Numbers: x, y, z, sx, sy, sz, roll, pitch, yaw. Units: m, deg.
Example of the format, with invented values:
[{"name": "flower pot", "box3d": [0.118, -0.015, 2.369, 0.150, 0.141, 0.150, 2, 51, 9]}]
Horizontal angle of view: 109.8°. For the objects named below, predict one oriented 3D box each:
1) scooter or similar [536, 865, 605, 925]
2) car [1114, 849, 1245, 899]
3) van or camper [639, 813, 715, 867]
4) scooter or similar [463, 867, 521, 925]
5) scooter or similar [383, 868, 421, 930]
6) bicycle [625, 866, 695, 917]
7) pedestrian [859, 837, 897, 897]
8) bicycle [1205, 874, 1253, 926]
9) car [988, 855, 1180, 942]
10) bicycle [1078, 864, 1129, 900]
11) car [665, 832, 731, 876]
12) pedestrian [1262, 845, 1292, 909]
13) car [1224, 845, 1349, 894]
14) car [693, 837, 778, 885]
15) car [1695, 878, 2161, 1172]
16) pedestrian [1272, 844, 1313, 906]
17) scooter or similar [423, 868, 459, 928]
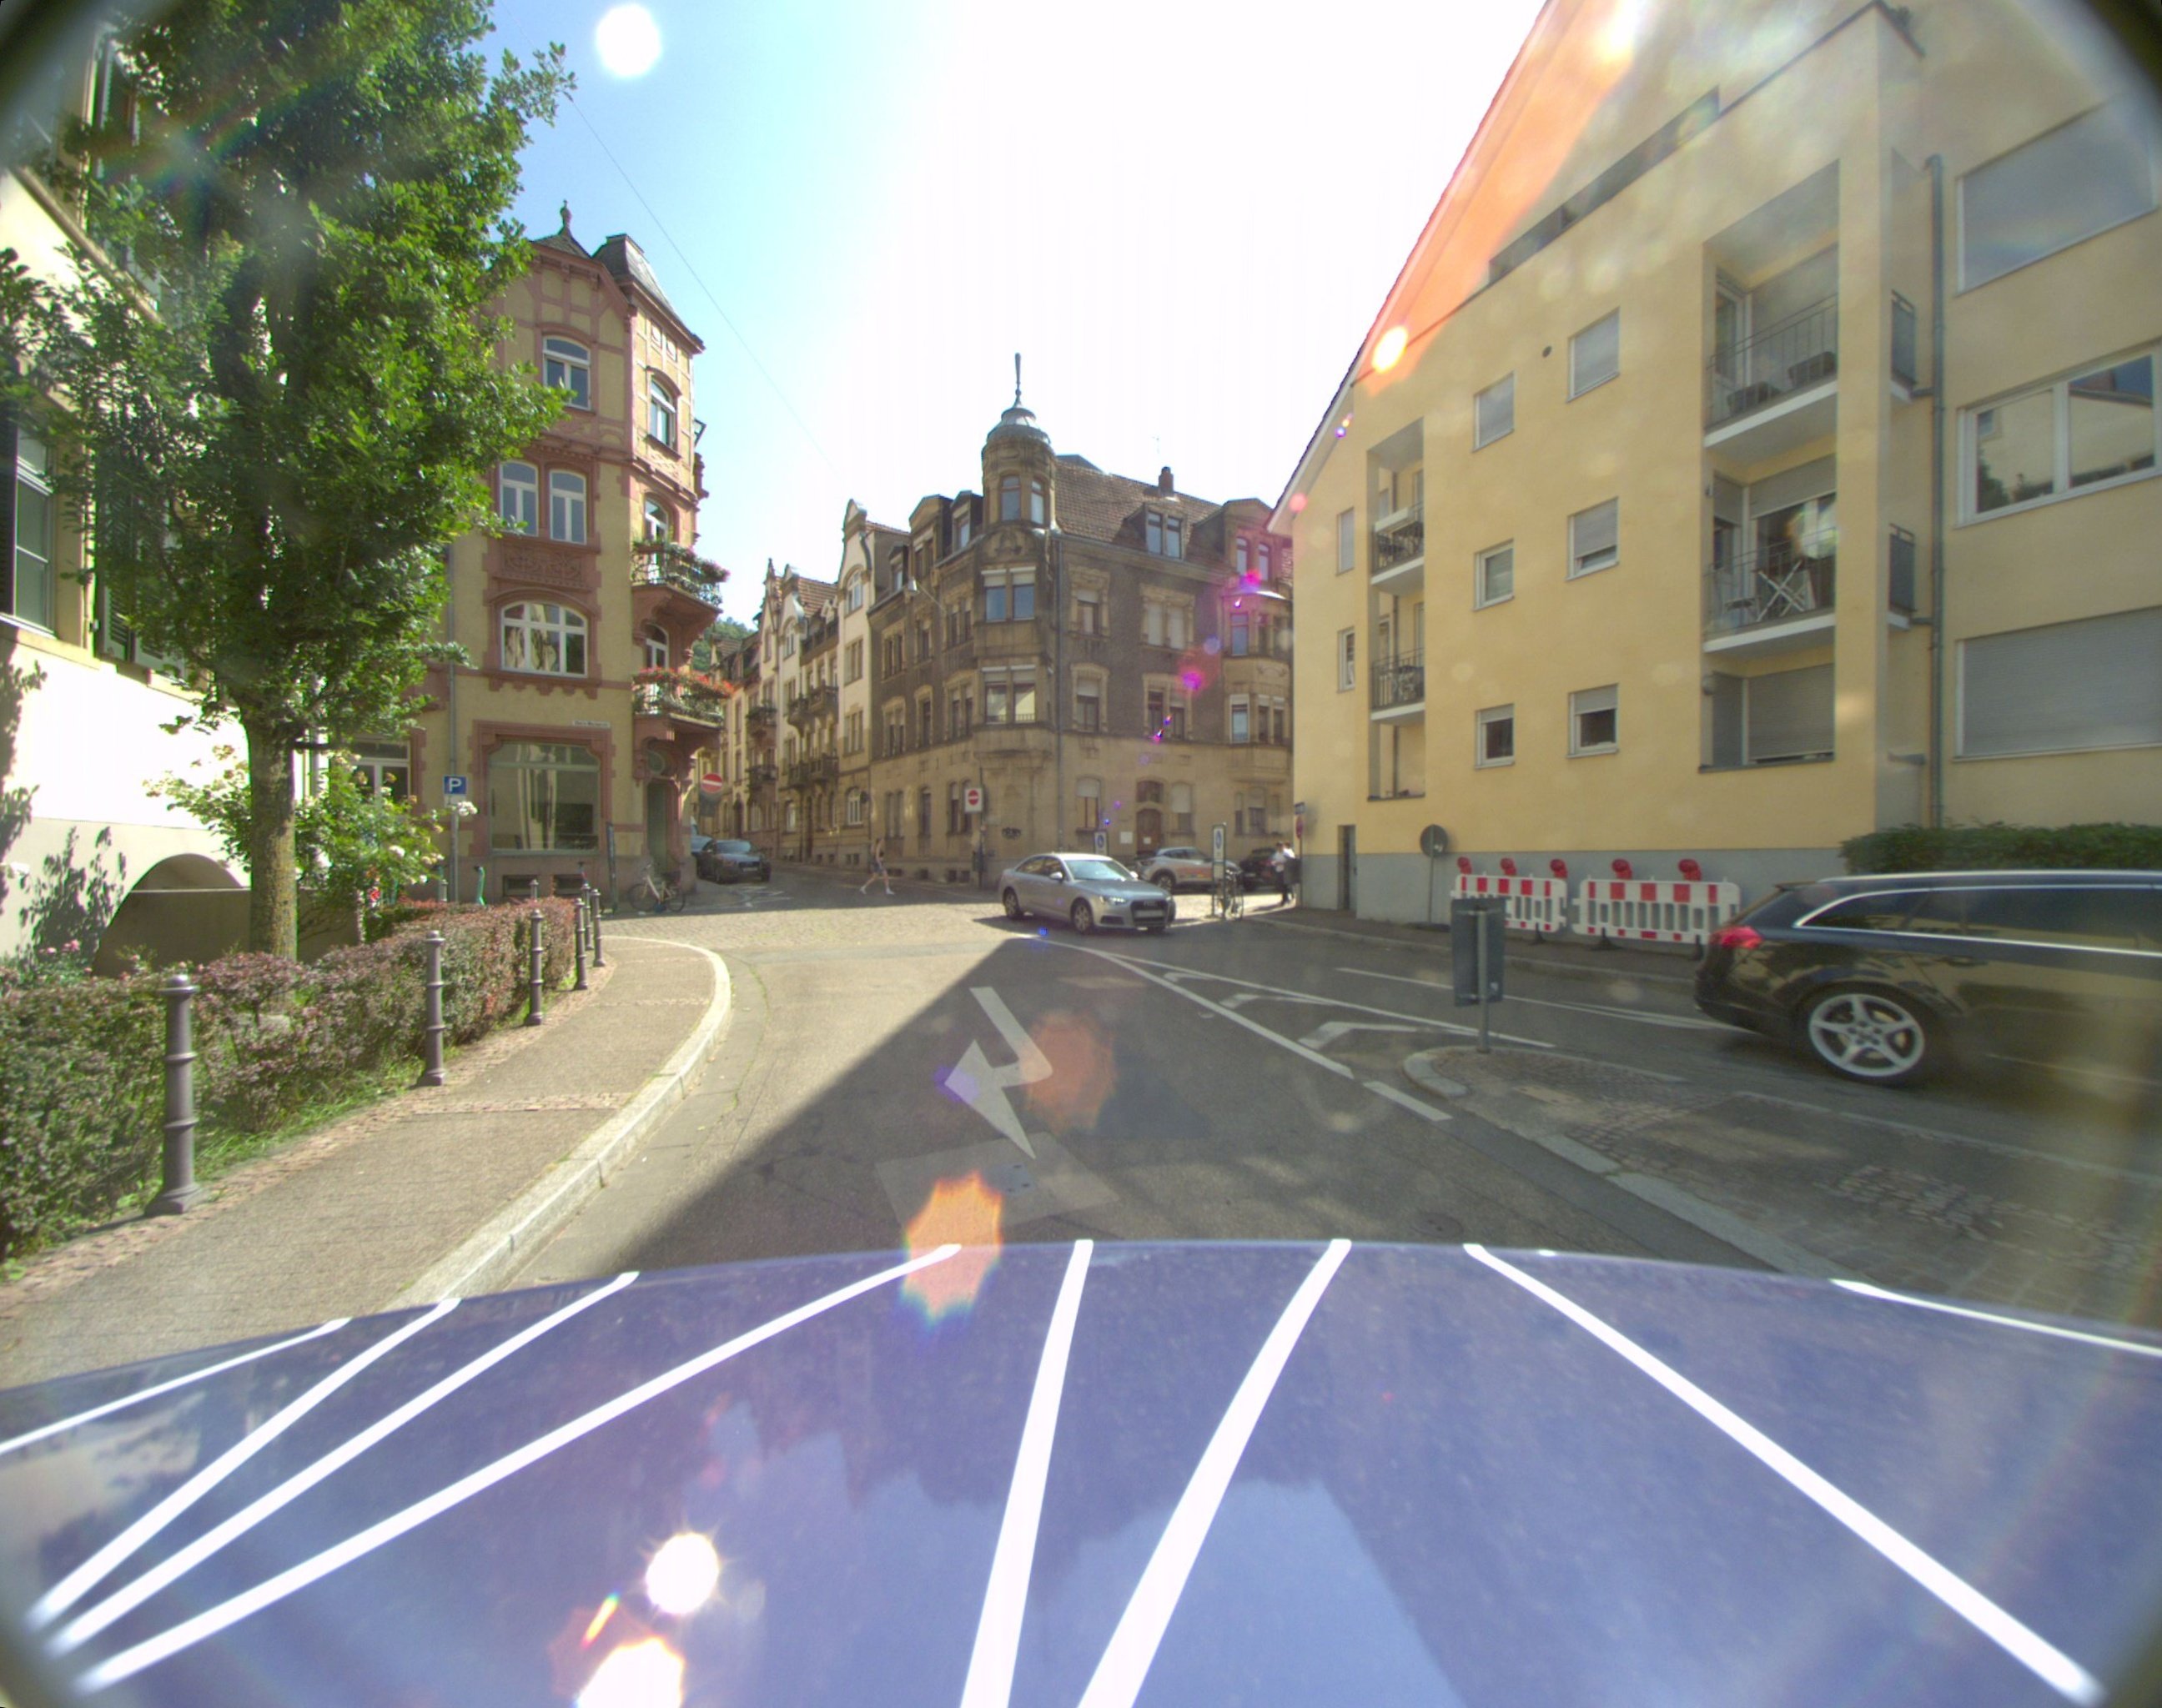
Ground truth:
[{"name": "scooter or similar", "box3d": [-11.115, 0.873, 16.571, 1.193, 1.228, 0.441, 0, 1, -42]}, {"name": "car", "box3d": [3.244, 0.612, 24.942, 3.934, 1.535, 1.848, 0, 0, -29]}, {"name": "van or camper", "box3d": [-20.780, -0.808, 38.867, 2.231, 2.506, 6.747, 0, 3, -39]}, {"name": "scooter or similar", "box3d": [-12.662, 0.886, 16.329, 1.188, 1.202, 0.342, 0, 1, 16]}, {"name": "scooter or similar", "box3d": [-13.911, 0.895, 15.558, 1.187, 1.202, 0.343, 0, 1, 37]}, {"name": "bicycle", "box3d": [-9.993, 0.871, 18.027, 1.788, 1.139, 0.506, 1, 1, 26]}, {"name": "pedestrian", "box3d": [-6.115, 0.368, 22.873, 0.982, 1.749, 0.621, -1, 5, -29]}, {"name": "bicycle", "box3d": [3.362, 1.014, 17.403, 0.392, 1.073, 1.908, 0, 0, -11]}, {"name": "car", "box3d": [-0.104, 0.765, 15.407, 1.880, 1.483, 4.372, 0, 0, -31]}, {"name": "bicycle", "box3d": [0.679, 0.880, 23.375, 1.638, 1.079, 0.286, -2, -3, 34]}, {"name": "car", "box3d": [-16.586, -0.061, 32.793, 1.765, 1.697, 3.988, -3, 4, -37]}, {"name": "pedestrian", "box3d": [4.997, 0.574, 19.392, 0.491, 1.609, 0.658, 1, 2, 42]}, {"name": "car", "box3d": [7.186, 0.511, 26.565, 4.005, 1.535, 1.848, -1, 0, -27]}, {"name": "car", "box3d": [-13.104, 0.213, 28.717, 1.866, 1.574, 4.247, -3, 4, -39]}, {"name": "car", "box3d": [6.517, 0.942, 4.052, 1.723, 1.453, 4.713, 2, -1, -31]}, {"name": "pedestrian", "box3d": [5.561, 0.539, 19.997, 0.757, 1.608, 0.689, -1, 1, -26]}, {"name": "scooter or similar", "box3d": [-13.454, 0.907, 15.971, 1.231, 1.202, 0.414, 1, 1, 43]}]
